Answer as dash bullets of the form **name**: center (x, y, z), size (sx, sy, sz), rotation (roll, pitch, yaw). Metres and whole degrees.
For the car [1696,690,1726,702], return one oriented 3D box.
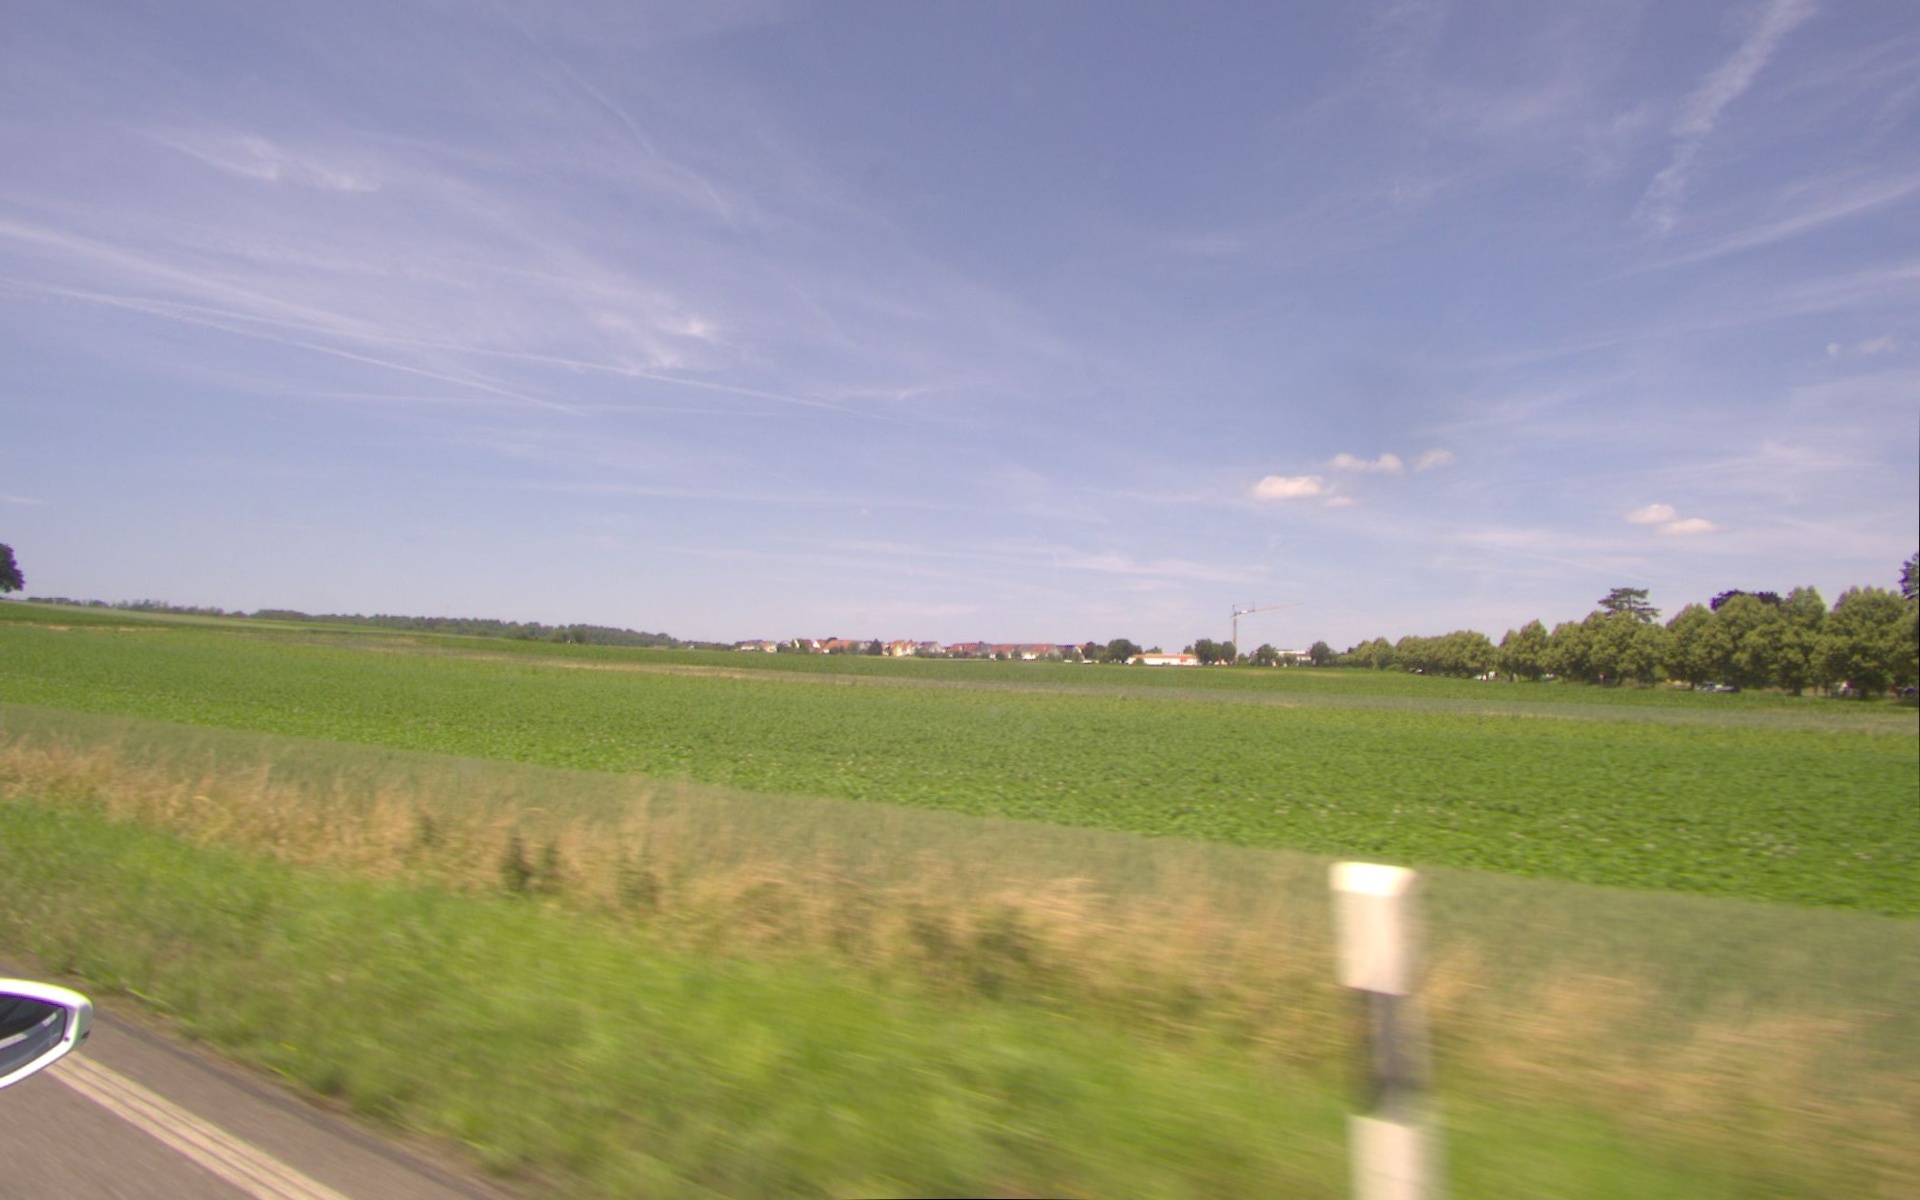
- **car**: center (109.120, 13.916, 145.574), size (1.962, 1.668, 4.002), rotation (-1, -5, 12)

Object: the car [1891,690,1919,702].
- **car**: center (134.969, 13.683, 142.392), size (1.838, 1.609, 4.812), rotation (-1, -5, 17)
